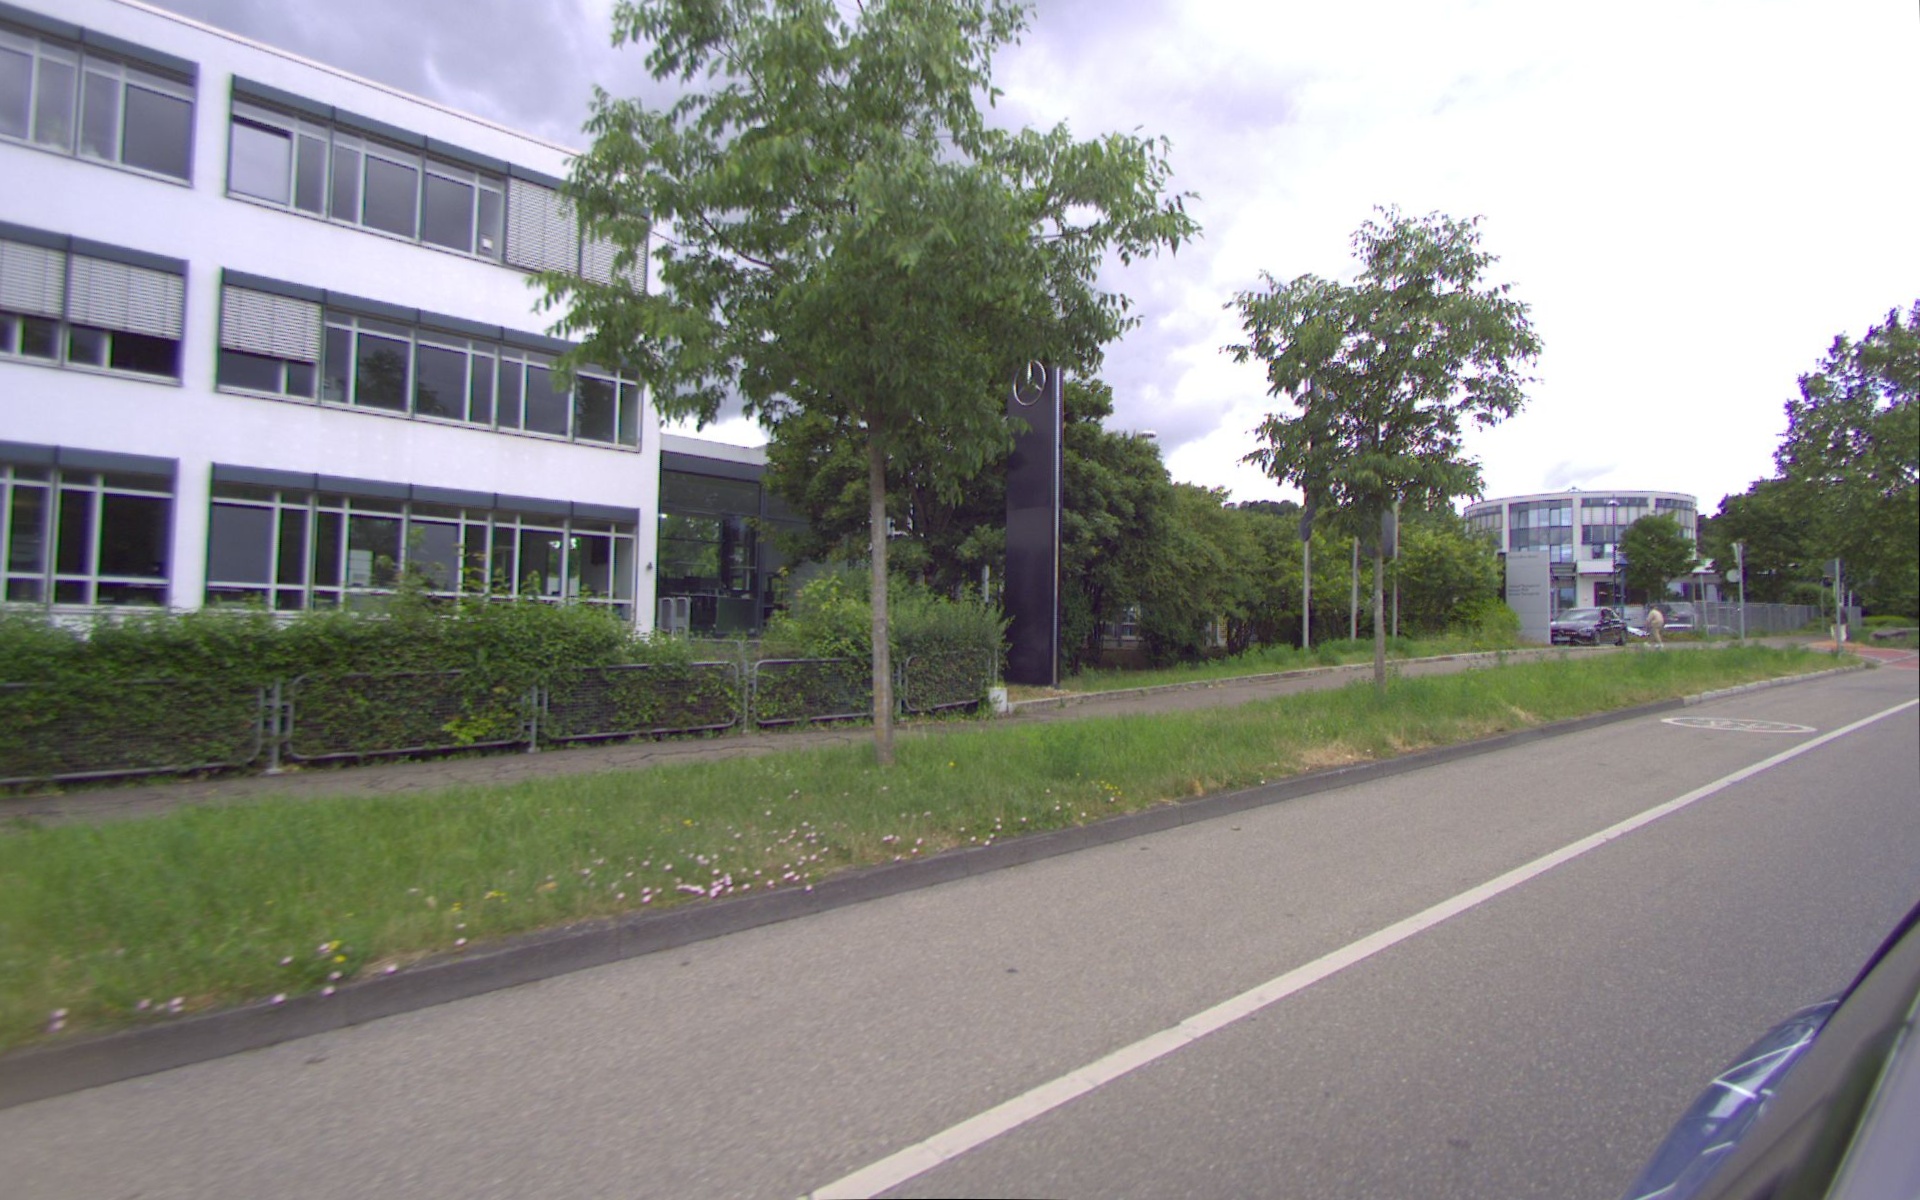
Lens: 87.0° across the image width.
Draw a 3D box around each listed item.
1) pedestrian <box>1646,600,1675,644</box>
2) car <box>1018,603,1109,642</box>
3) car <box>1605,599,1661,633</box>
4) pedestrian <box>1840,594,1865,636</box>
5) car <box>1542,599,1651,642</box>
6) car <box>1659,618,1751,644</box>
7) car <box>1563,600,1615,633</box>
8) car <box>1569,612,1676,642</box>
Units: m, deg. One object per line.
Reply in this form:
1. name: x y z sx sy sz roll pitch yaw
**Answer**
1. pedestrian: 26.103 0.799 37.725 0.806 1.586 0.933 1 1 33
2. car: 3.673 0.809 35.733 3.025 1.313 1.596 2 -2 -43
3. car: 47.944 1.123 72.152 2.087 2.304 4.458 1 -1 17
4. pedestrian: 37.711 0.629 42.759 0.493 1.748 0.732 0 1 -44
5. car: 22.721 0.733 36.060 4.892 1.435 1.849 0 -2 -40
6. car: 45.603 1.921 62.016 1.787 1.467 4.182 2 -4 -41
7. car: 45.766 1.170 73.744 2.087 2.304 4.458 1 -1 17
8. car: 33.095 1.394 50.610 1.963 1.335 3.996 2 -5 -37
